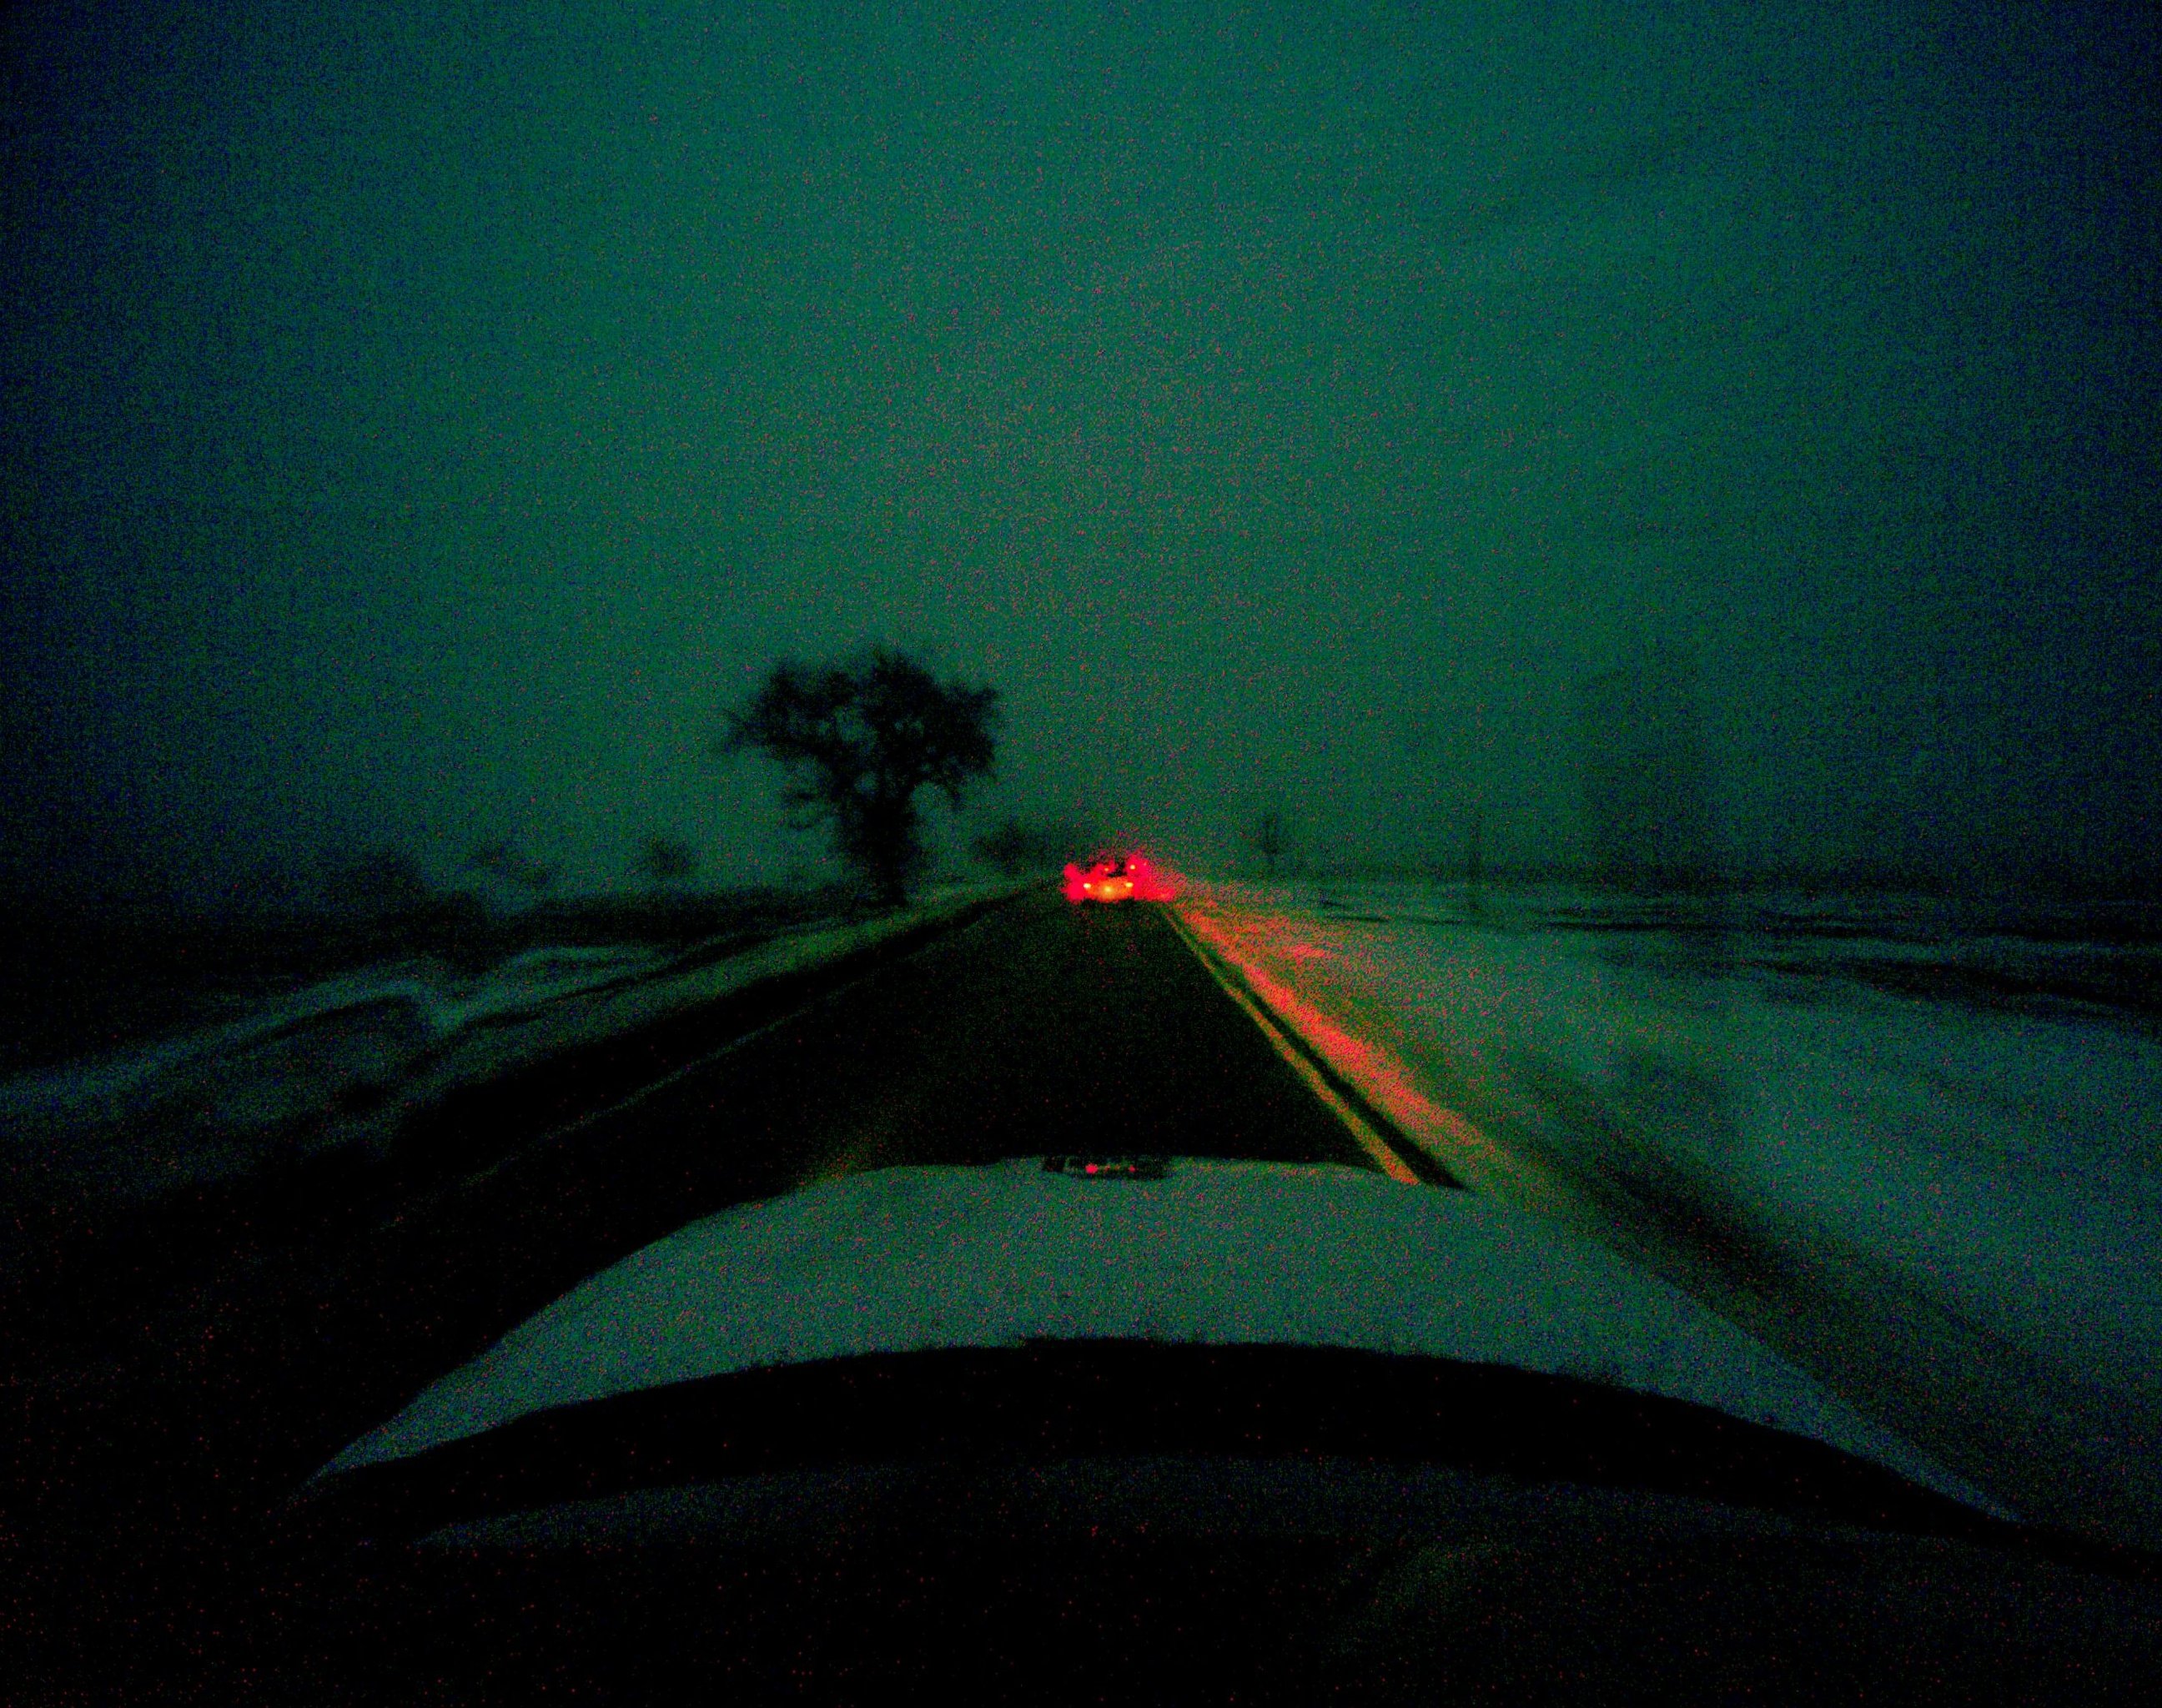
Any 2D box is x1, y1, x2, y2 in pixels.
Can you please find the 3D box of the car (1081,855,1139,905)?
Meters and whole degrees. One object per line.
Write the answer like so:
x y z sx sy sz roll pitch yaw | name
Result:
0.873 0.793 26.218 1.701 1.463 3.999 1 -1 0 | car
